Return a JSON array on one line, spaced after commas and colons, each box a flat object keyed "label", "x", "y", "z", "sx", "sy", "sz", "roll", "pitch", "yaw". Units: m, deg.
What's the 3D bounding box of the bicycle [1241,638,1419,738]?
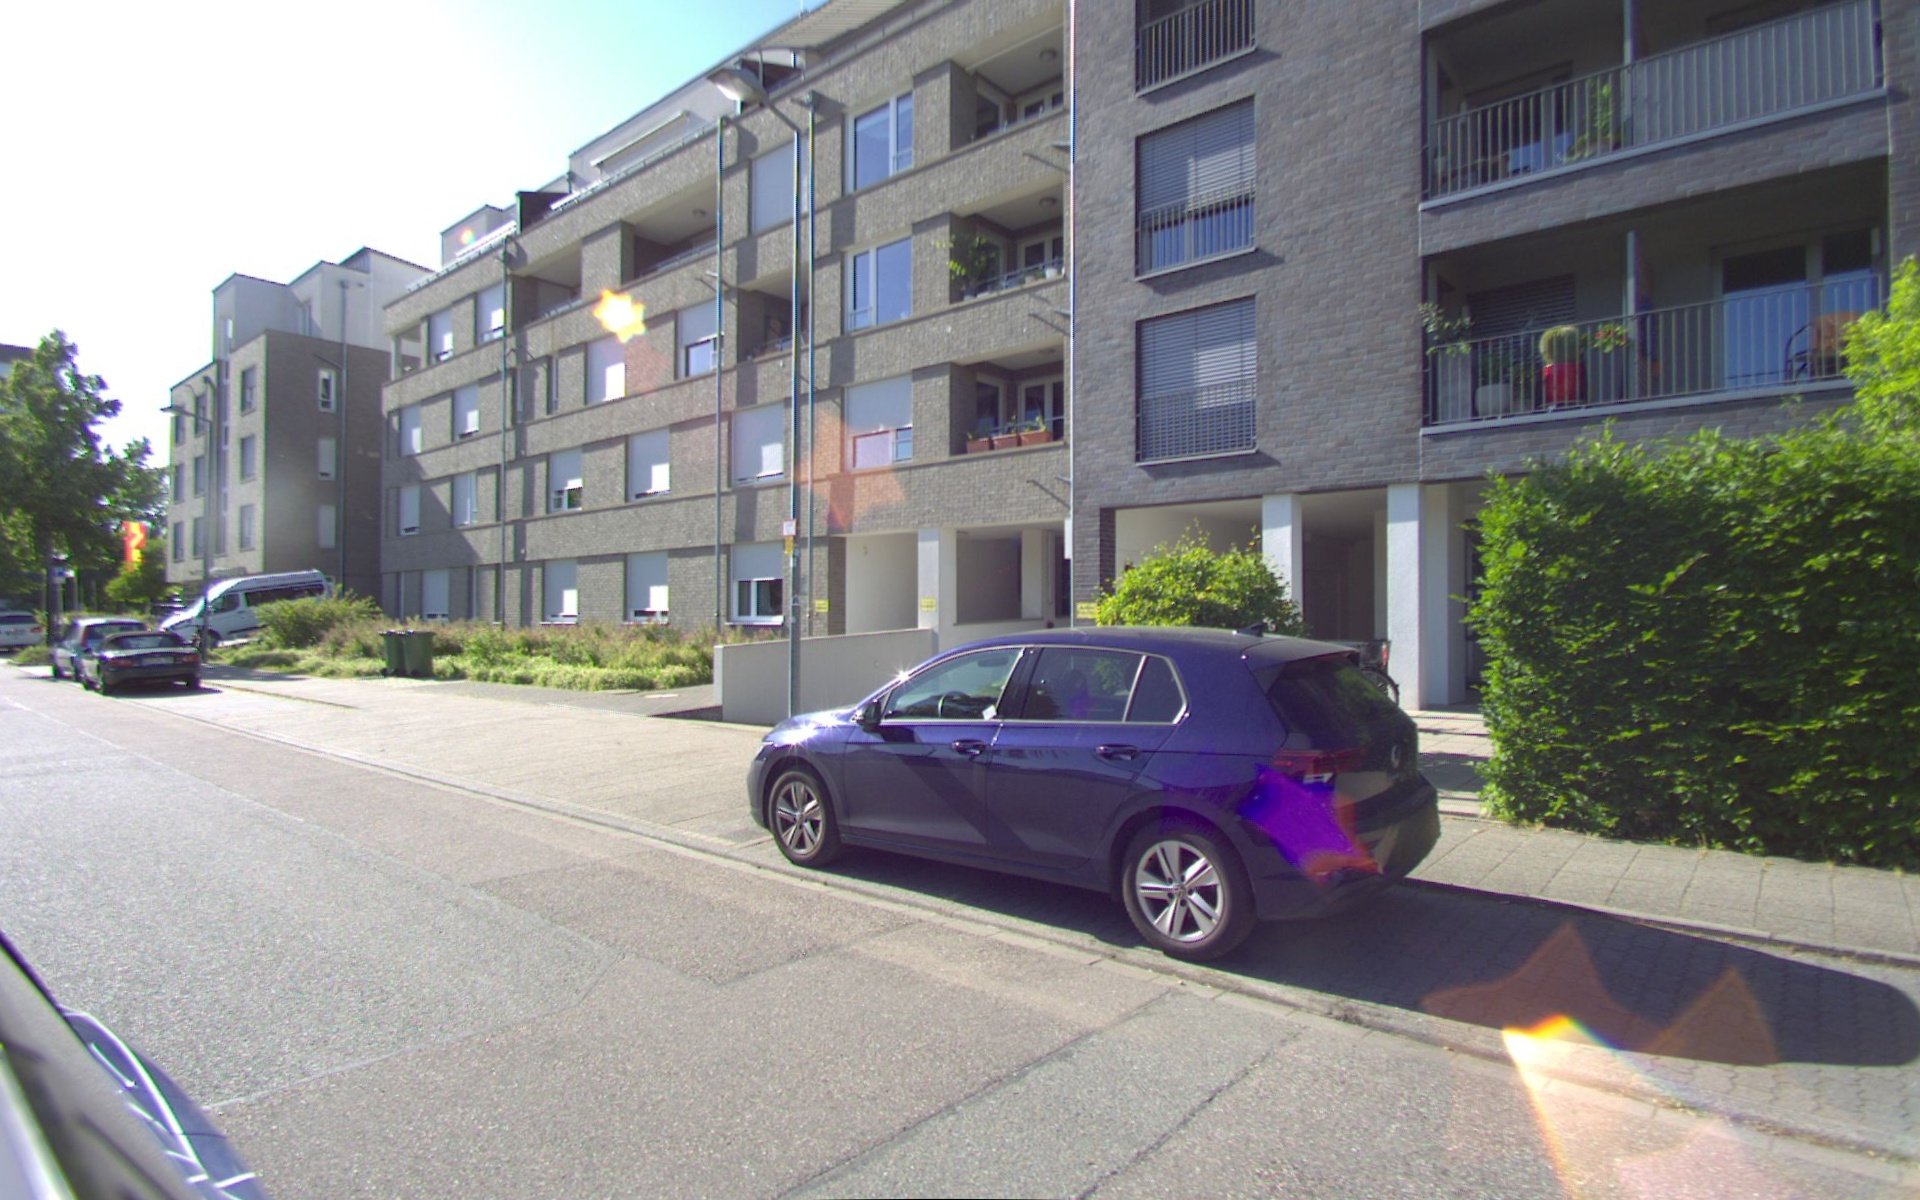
[{"label": "bicycle", "x": 4.342, "y": 0.995, "z": 11.964, "sx": 1.873, "sy": 1.083, "sz": 0.633, "roll": -1, "pitch": -2, "yaw": 41}]

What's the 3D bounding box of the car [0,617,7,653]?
[{"label": "car", "x": -42.833, "y": 1.533, "z": 43.796, "sx": 3.885, "sy": 1.529, "sz": 1.773, "roll": -1, "pitch": -1, "yaw": 38}]

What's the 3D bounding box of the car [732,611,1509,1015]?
[{"label": "car", "x": 0.680, "y": 0.846, "z": 5.862, "sx": 4.097, "sy": 1.485, "sz": 1.821, "roll": -1, "pitch": 0, "yaw": 41}]

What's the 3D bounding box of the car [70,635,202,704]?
[{"label": "car", "x": -17.317, "y": 1.401, "z": 21.227, "sx": 3.561, "sy": 1.257, "sz": 1.610, "roll": -1, "pitch": -1, "yaw": 42}]

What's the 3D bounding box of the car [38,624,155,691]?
[{"label": "car", "x": -21.221, "y": 1.357, "z": 24.830, "sx": 3.560, "sy": 1.536, "sz": 1.610, "roll": -1, "pitch": -2, "yaw": 40}]

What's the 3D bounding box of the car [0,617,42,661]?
[{"label": "car", "x": -36.159, "y": 1.453, "z": 38.088, "sx": 3.885, "sy": 1.612, "sz": 1.773, "roll": -1, "pitch": -1, "yaw": 38}]

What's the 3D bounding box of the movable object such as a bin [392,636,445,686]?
[{"label": "movable object such as a bin", "x": -12.289, "y": 1.377, "z": 22.978, "sx": 0.677, "sy": 1.045, "sz": 0.852, "roll": -1, "pitch": 1, "yaw": 38}]

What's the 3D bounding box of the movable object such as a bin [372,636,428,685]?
[{"label": "movable object such as a bin", "x": -12.930, "y": 1.382, "z": 23.378, "sx": 0.680, "sy": 1.045, "sz": 0.910, "roll": -1, "pitch": 1, "yaw": 38}]

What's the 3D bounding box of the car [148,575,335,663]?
[{"label": "car", "x": -25.699, "y": 0.703, "z": 36.376, "sx": 2.011, "sy": 2.924, "sz": 5.091, "roll": -1, "pitch": -2, "yaw": 37}]
